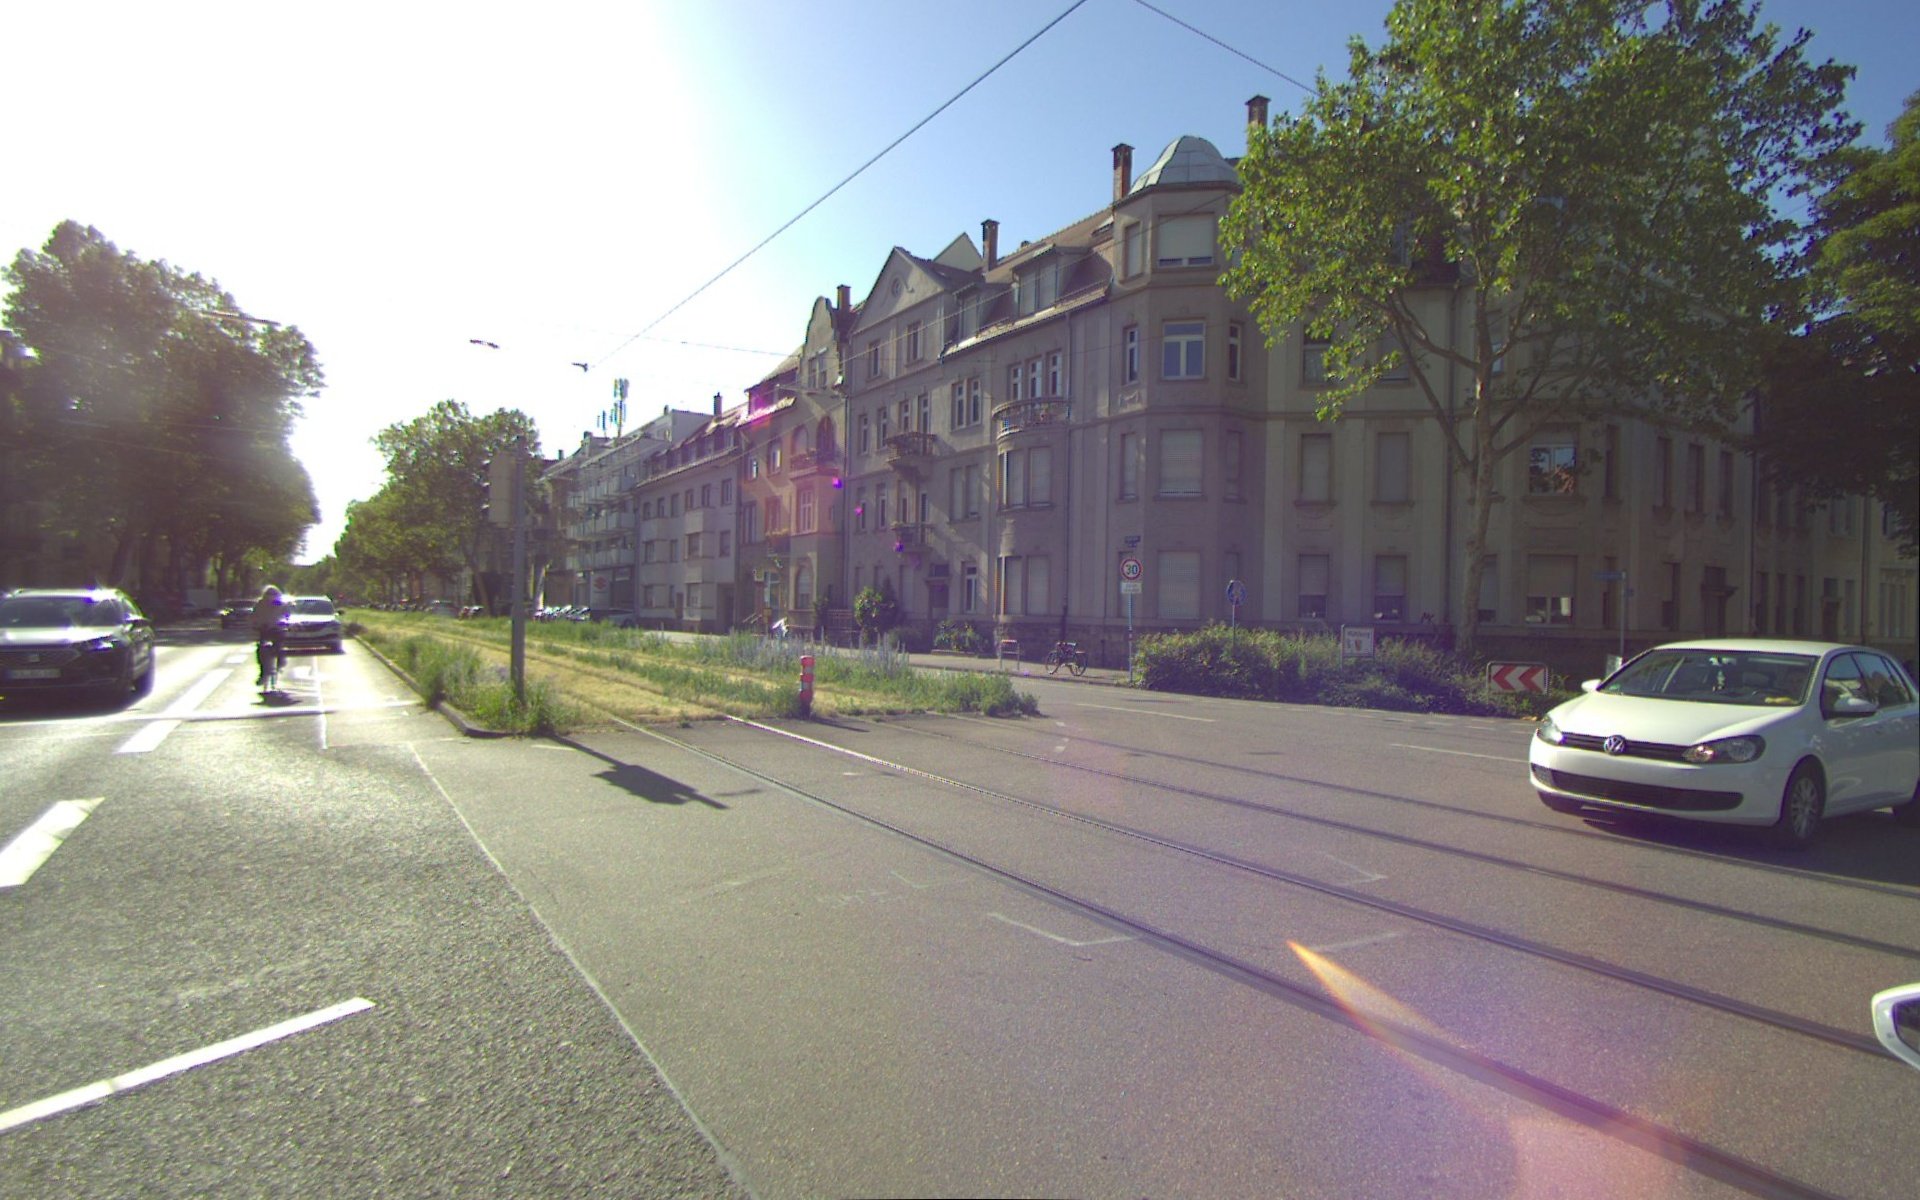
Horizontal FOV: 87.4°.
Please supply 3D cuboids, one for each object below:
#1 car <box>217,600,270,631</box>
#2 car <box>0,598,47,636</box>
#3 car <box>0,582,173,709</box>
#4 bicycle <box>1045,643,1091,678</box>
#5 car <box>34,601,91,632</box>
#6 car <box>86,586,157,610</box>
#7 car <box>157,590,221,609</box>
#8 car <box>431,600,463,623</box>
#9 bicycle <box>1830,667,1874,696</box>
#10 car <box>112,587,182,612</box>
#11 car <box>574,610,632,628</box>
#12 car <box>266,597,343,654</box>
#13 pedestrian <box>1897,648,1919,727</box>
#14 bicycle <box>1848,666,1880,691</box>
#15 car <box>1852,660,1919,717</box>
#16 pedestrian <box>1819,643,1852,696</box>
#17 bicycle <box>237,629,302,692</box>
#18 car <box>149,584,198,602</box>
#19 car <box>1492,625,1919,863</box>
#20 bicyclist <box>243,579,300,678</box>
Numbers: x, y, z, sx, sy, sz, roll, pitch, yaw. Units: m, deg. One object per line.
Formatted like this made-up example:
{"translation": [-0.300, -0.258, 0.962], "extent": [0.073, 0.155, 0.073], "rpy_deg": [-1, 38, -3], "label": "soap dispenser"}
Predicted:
{"translation": [-39.282, 0.836, 55.137], "extent": [1.701, 1.572, 3.973], "rpy_deg": [2, -1, -26], "label": "car"}
{"translation": [-41.627, 0.711, 44.118], "extent": [1.624, 1.609, 3.375], "rpy_deg": [0, 0, -31], "label": "car"}
{"translation": [-13.438, 0.599, 15.149], "extent": [1.978, 1.666, 4.204], "rpy_deg": [0, 0, -32], "label": "car"}
{"translation": [3.063, 1.719, 28.654], "extent": [0.492, 0.917, 1.425], "rpy_deg": [2, -1, -35], "label": "bicycle"}
{"translation": [-47.833, 0.844, 53.601], "extent": [1.624, 1.609, 3.375], "rpy_deg": [0, 0, -31], "label": "car"}
{"translation": [-64.159, -0.145, 76.908], "extent": [1.809, 1.729, 3.809], "rpy_deg": [2, 1, 17], "label": "car"}
{"translation": [-73.319, -0.055, 95.548], "extent": [1.809, 1.729, 4.592], "rpy_deg": [2, 1, 19], "label": "car"}
{"translation": [-42.895, 0.931, 83.983], "extent": [1.965, 1.860, 4.077], "rpy_deg": [2, -1, -33], "label": "car"}
{"translation": [28.953, 2.646, 32.592], "extent": [1.575, 0.924, 0.470], "rpy_deg": [2, -1, -25], "label": "bicycle"}
{"translation": [-61.809, -0.055, 76.414], "extent": [1.809, 1.729, 3.809], "rpy_deg": [2, 1, 17], "label": "car"}
{"translation": [-27.569, 1.468, 77.602], "extent": [3.959, 1.325, 1.528], "rpy_deg": [2, -1, -34], "label": "car"}
{"translation": [-19.190, 0.717, 29.539], "extent": [1.746, 1.550, 3.985], "rpy_deg": [2, -1, -32], "label": "car"}
{"translation": [21.165, 1.925, 22.003], "extent": [0.670, 1.704, 0.693], "rpy_deg": [2, -1, -21], "label": "pedestrian"}
{"translation": [32.705, 2.829, 36.335], "extent": [0.957, 0.826, 0.569], "rpy_deg": [2, 2, -33], "label": "bicycle"}
{"translation": [26.819, 2.436, 27.094], "extent": [1.597, 1.495, 3.862], "rpy_deg": [3, -2, -31], "label": "car"}
{"translation": [28.810, 2.282, 33.048], "extent": [0.882, 1.680, 0.459], "rpy_deg": [2, -1, -24], "label": "pedestrian"}
{"translation": [-11.347, 0.973, 16.547], "extent": [0.786, 0.937, 1.623], "rpy_deg": [1, -1, -32], "label": "bicycle"}
{"translation": [-82.703, -0.732, 105.638], "extent": [1.819, 1.729, 3.788], "rpy_deg": [3, 2, 42], "label": "car"}
{"translation": [6.338, 1.032, 8.211], "extent": [3.957, 1.477, 1.796], "rpy_deg": [3, -2, -32], "label": "car"}
{"translation": [-11.350, 0.461, 16.574], "extent": [0.679, 1.563, 1.065], "rpy_deg": [2, -1, -32], "label": "bicyclist"}
